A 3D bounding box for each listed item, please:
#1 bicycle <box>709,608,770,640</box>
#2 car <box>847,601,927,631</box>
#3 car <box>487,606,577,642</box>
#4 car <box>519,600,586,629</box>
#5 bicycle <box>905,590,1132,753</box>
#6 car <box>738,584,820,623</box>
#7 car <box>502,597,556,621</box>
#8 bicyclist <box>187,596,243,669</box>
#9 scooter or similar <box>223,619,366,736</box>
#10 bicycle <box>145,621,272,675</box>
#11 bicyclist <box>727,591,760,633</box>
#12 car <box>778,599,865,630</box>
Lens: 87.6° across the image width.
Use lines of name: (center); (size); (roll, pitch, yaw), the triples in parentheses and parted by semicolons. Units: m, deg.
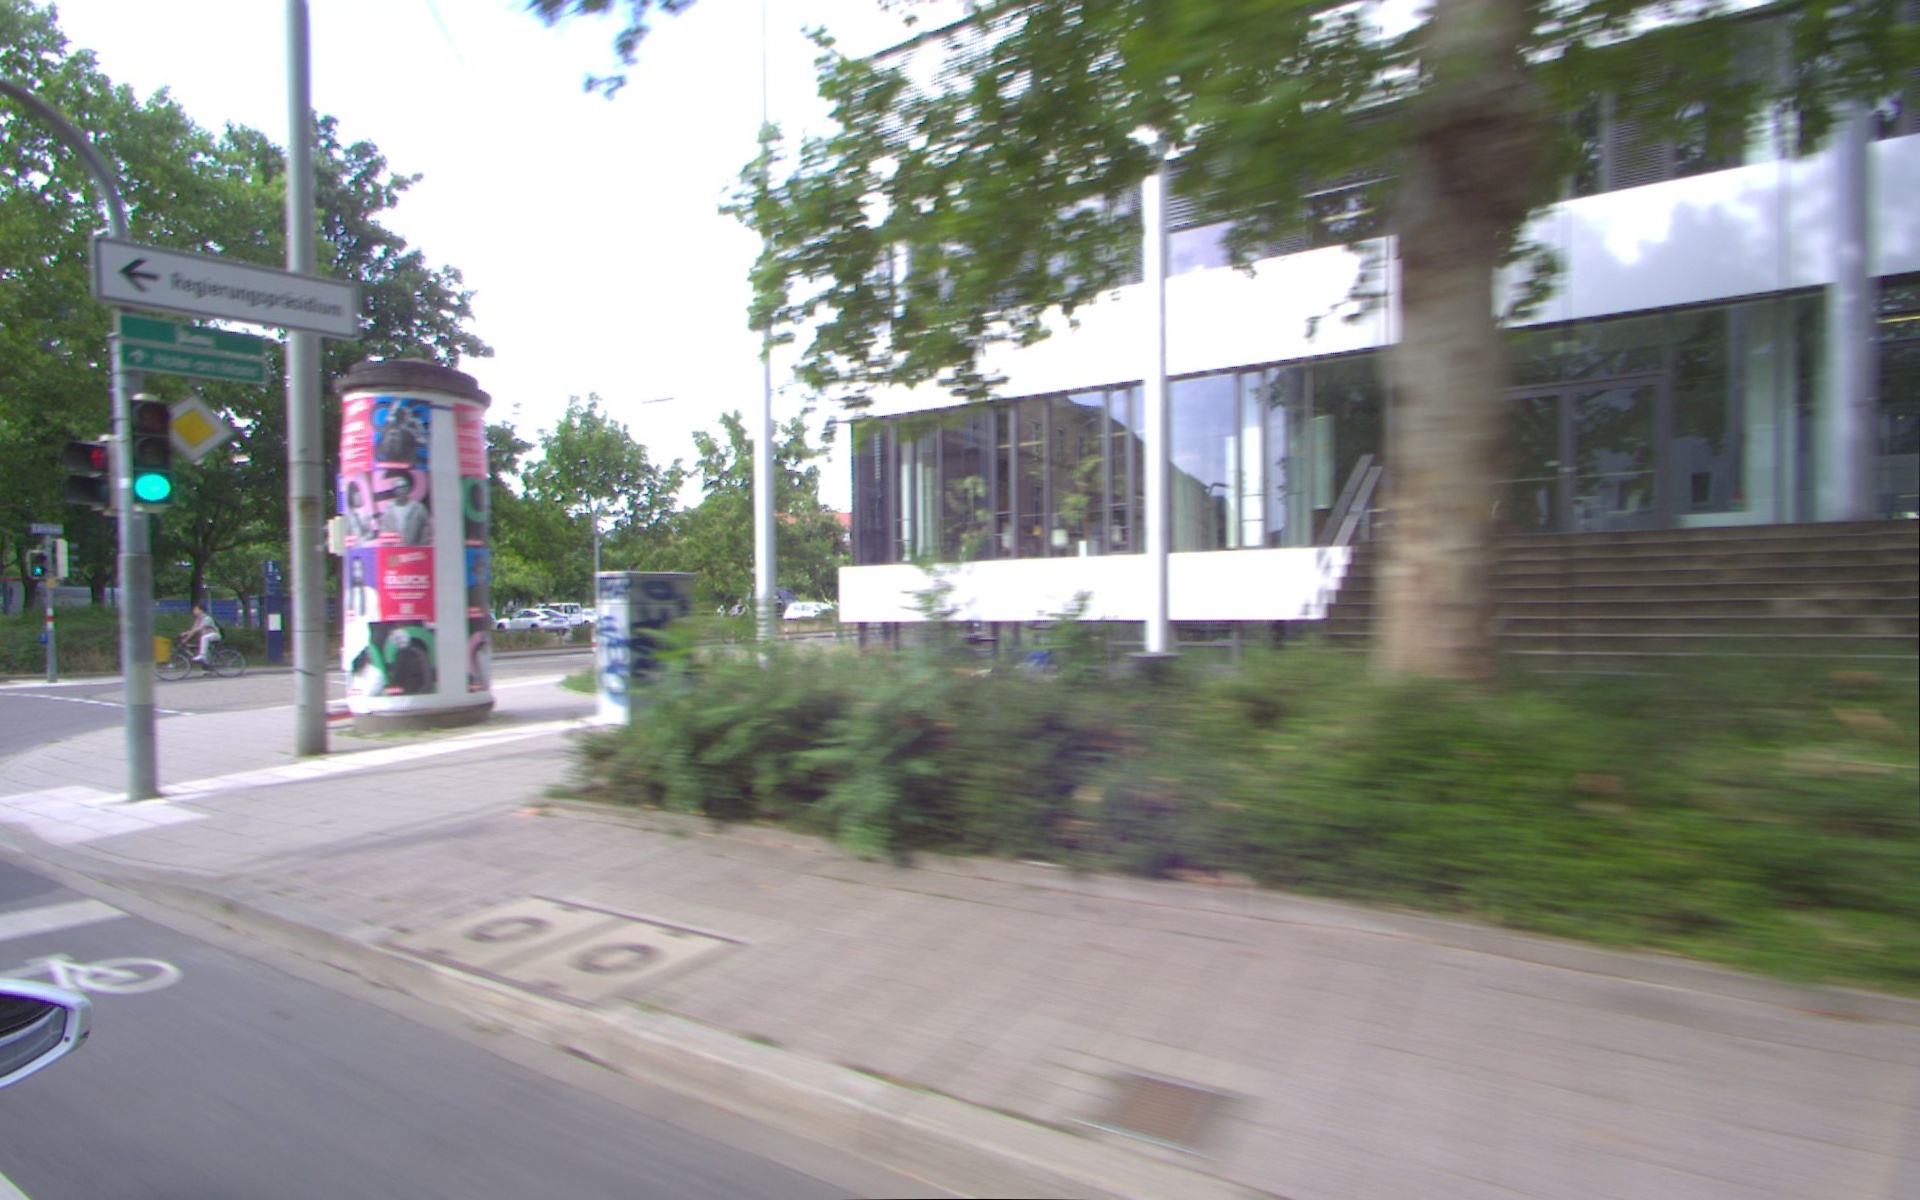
bicycle: (-8.591, 0.916, 39.106); (0.904, 1.187, 2.237); (-2, -1, 36)
car: (-4.564, 1.035, 62.799); (4.701, 1.817, 1.992); (-1, -2, 30)
car: (-22.854, 1.281, 53.450); (4.701, 1.817, 1.992); (-1, -2, 29)
car: (-29.824, 1.078, 73.266); (4.698, 2.039, 1.993); (0, -2, 28)
bicycle: (0.454, 0.542, 8.040); (1.701, 1.184, 0.697); (-1, -1, 33)
car: (-12.749, 0.279, 70.461); (5.414, 2.647, 2.433); (-1, -2, 30)
car: (-38.868, 0.837, 90.264); (4.701, 2.039, 1.992); (-1, -2, 29)
bicyclist: (-17.678, 0.764, 23.775); (0.904, 1.700, 0.826); (-2, -1, 37)
scooter or similar: (-7.693, 0.860, 11.626); (0.340, 1.226, 1.301); (0, 2, 36)
bicycle: (-17.735, 1.109, 23.682); (0.904, 1.187, 2.237); (-2, -1, 36)
bicyclist: (-8.477, 0.470, 39.247); (0.904, 1.597, 0.826); (-2, -1, 37)
car: (-7.742, 0.818, 55.820); (4.707, 1.651, 1.989); (-1, -2, 34)
